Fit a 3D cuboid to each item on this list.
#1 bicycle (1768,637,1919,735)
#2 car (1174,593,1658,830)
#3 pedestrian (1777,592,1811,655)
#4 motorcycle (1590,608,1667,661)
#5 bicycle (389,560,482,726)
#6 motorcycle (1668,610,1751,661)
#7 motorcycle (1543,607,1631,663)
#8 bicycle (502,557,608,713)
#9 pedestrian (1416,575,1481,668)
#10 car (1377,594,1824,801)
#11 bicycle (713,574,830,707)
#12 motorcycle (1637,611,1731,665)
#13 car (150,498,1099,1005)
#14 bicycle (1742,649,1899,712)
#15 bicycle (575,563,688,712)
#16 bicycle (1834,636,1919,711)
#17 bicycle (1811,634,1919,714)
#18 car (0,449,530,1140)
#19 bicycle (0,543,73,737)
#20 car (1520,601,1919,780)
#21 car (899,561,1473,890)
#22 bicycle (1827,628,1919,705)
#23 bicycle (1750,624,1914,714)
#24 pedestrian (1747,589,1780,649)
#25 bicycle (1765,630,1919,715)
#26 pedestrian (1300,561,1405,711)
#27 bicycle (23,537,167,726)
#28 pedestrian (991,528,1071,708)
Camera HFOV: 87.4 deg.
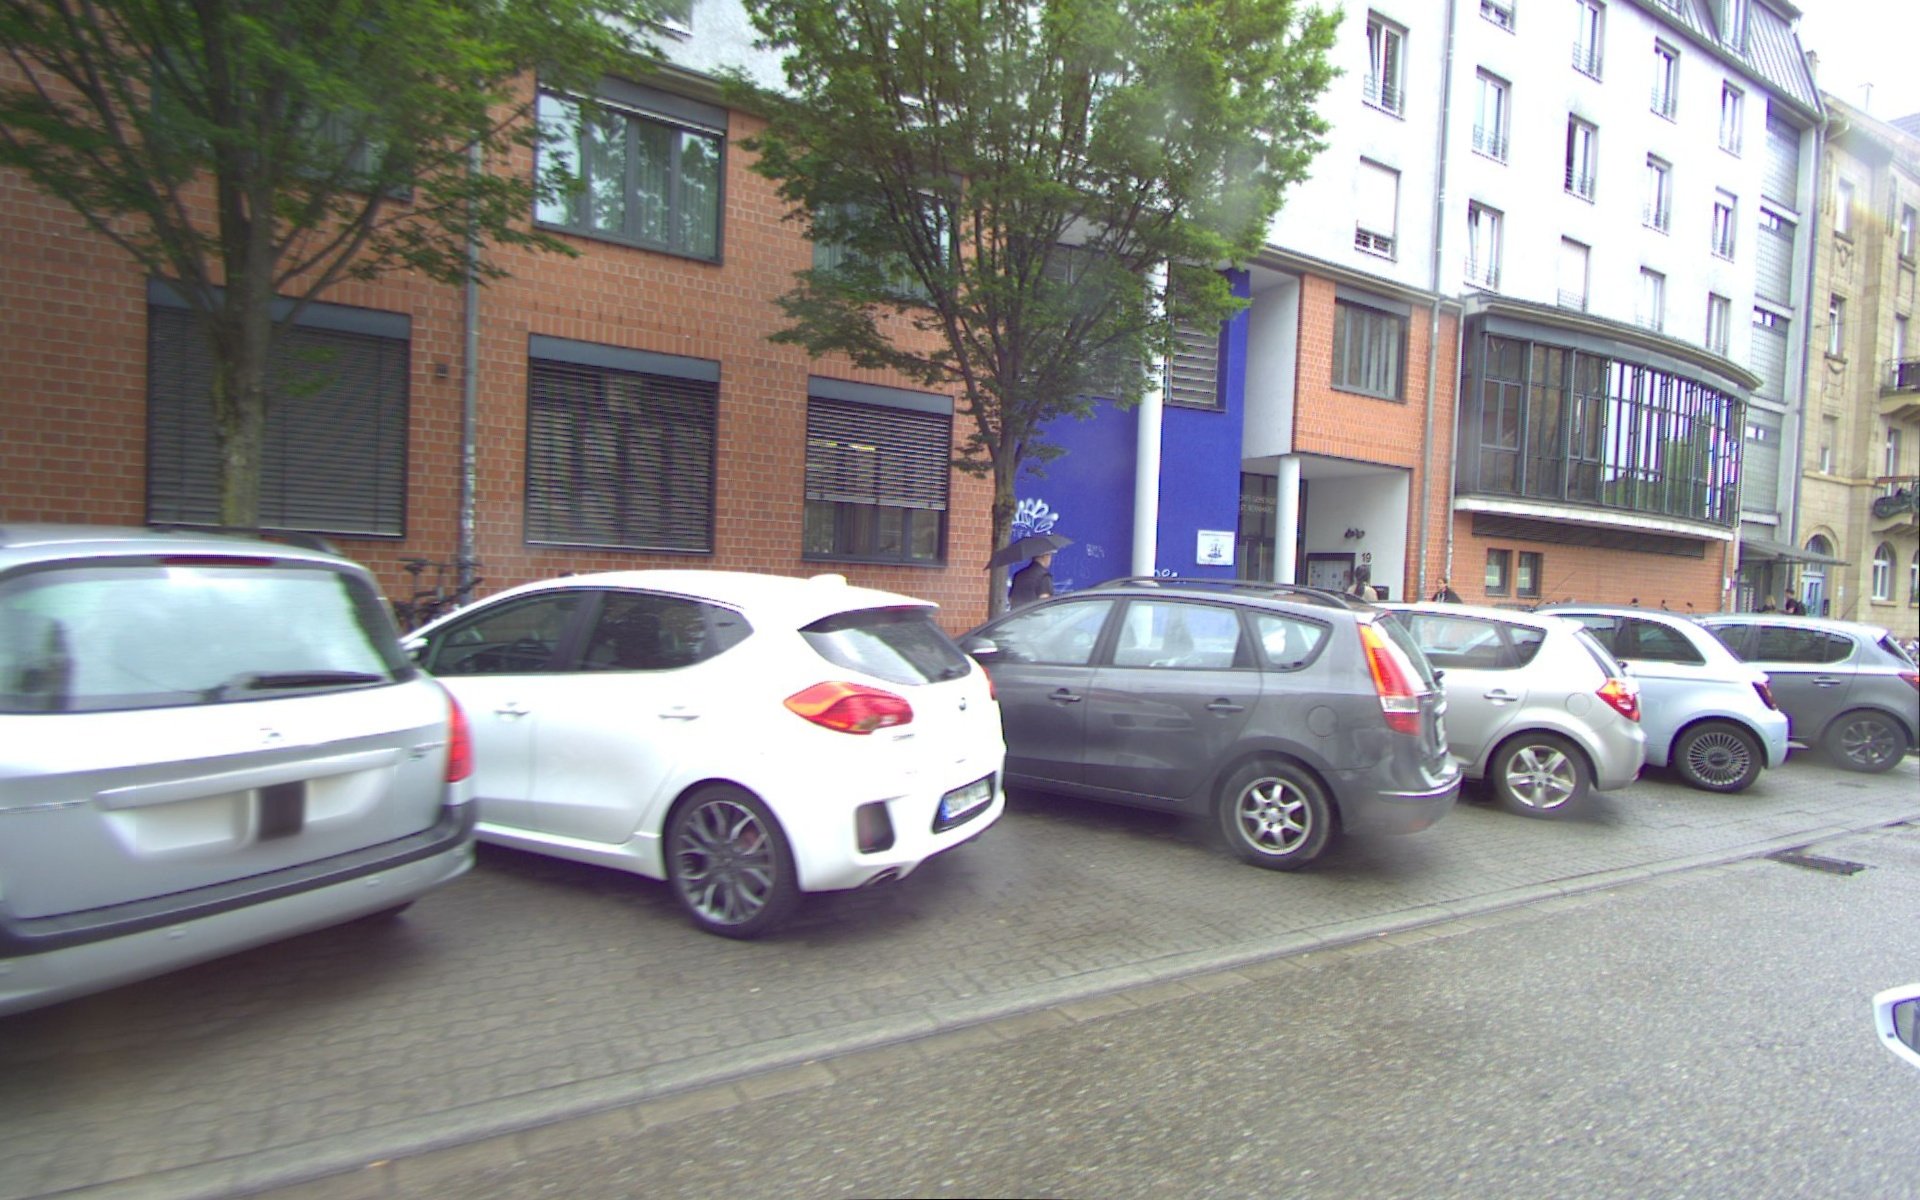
[{"bbox_3d":[11.982,1.119,13.423,0.501,1.112,1.711,1,3,-35],"label":"bicycle"},{"bbox_3d":[3.691,0.777,8.481,3.323,1.477,1.679,4,1,26],"label":"car"},{"bbox_3d":[23.967,0.665,28.876,0.652,1.780,0.794,2,1,36],"label":"pedestrian"},{"bbox_3d":[16.211,0.839,24.333,2.094,1.190,0.748,2,4,-35],"label":"motorcycle"},{"bbox_3d":[-4.630,0.316,8.801,0.548,1.168,1.884,2,5,-32],"label":"bicycle"},{"bbox_3d":[19.575,0.924,26.250,1.748,1.190,0.572,3,3,-8],"label":"motorcycle"},{"bbox_3d":[14.448,0.805,23.132,2.091,1.190,0.749,2,3,-30],"label":"motorcycle"},{"bbox_3d":[-3.798,0.269,9.321,0.548,1.168,1.884,2,5,-32],"label":"bicycle"},{"bbox_3d":[8.592,0.372,17.675,0.599,1.572,0.707,2,4,-23],"label":"pedestrian"},{"bbox_3d":[5.998,0.802,9.799,3.326,1.527,1.678,4,1,30],"label":"car"},{"bbox_3d":[-2.091,0.397,10.935,0.548,1.168,1.884,2,5,-32],"label":"bicycle"},{"bbox_3d":[18.141,0.952,25.180,2.083,1.190,0.752,3,3,-19],"label":"motorcycle"},{"bbox_3d":[-1.796,0.422,5.389,4.442,1.559,2.335,5,1,27],"label":"car"},{"bbox_3d":[13.079,1.206,15.326,0.500,0.741,1.714,2,3,-29],"label":"bicycle"},{"bbox_3d":[-3.221,0.312,9.728,0.548,1.168,1.884,2,5,-32],"label":"bicycle"},{"bbox_3d":[15.578,1.224,16.198,0.587,1.112,2.106,2,3,-29],"label":"bicycle"},{"bbox_3d":[14.861,1.180,15.810,0.587,1.112,2.122,2,3,-29],"label":"bicycle"},{"bbox_3d":[-3.480,0.439,3.807,3.324,1.676,1.632,2,0,27],"label":"car"},{"bbox_3d":[-7.084,0.230,7.372,0.548,1.168,1.884,2,5,-32],"label":"bicycle"},{"bbox_3d":[8.405,0.883,11.130,3.762,1.527,1.985,4,1,30],"label":"car"},{"bbox_3d":[1.473,0.619,6.670,3.325,1.562,1.678,4,1,29],"label":"car"},{"bbox_3d":[16.510,1.185,17.612,1.778,1.229,0.631,5,2,24],"label":"bicycle"},{"bbox_3d":[13.554,1.039,15.679,0.560,1.183,1.796,2,2,-26],"label":"bicycle"},{"bbox_3d":[23.421,0.550,29.286,0.652,1.697,0.794,2,1,36],"label":"pedestrian"},{"bbox_3d":[14.092,1.113,15.974,0.500,1.112,1.905,2,3,-29],"label":"bicycle"},{"bbox_3d":[4.883,0.433,12.542,0.746,1.776,0.823,2,4,-24],"label":"pedestrian"},{"bbox_3d":[-6.539,0.174,7.666,0.548,1.168,1.884,2,5,-32],"label":"bicycle"},{"bbox_3d":[0.700,0.173,10.005,0.428,1.730,0.608,4,0,-30],"label":"pedestrian"}]
